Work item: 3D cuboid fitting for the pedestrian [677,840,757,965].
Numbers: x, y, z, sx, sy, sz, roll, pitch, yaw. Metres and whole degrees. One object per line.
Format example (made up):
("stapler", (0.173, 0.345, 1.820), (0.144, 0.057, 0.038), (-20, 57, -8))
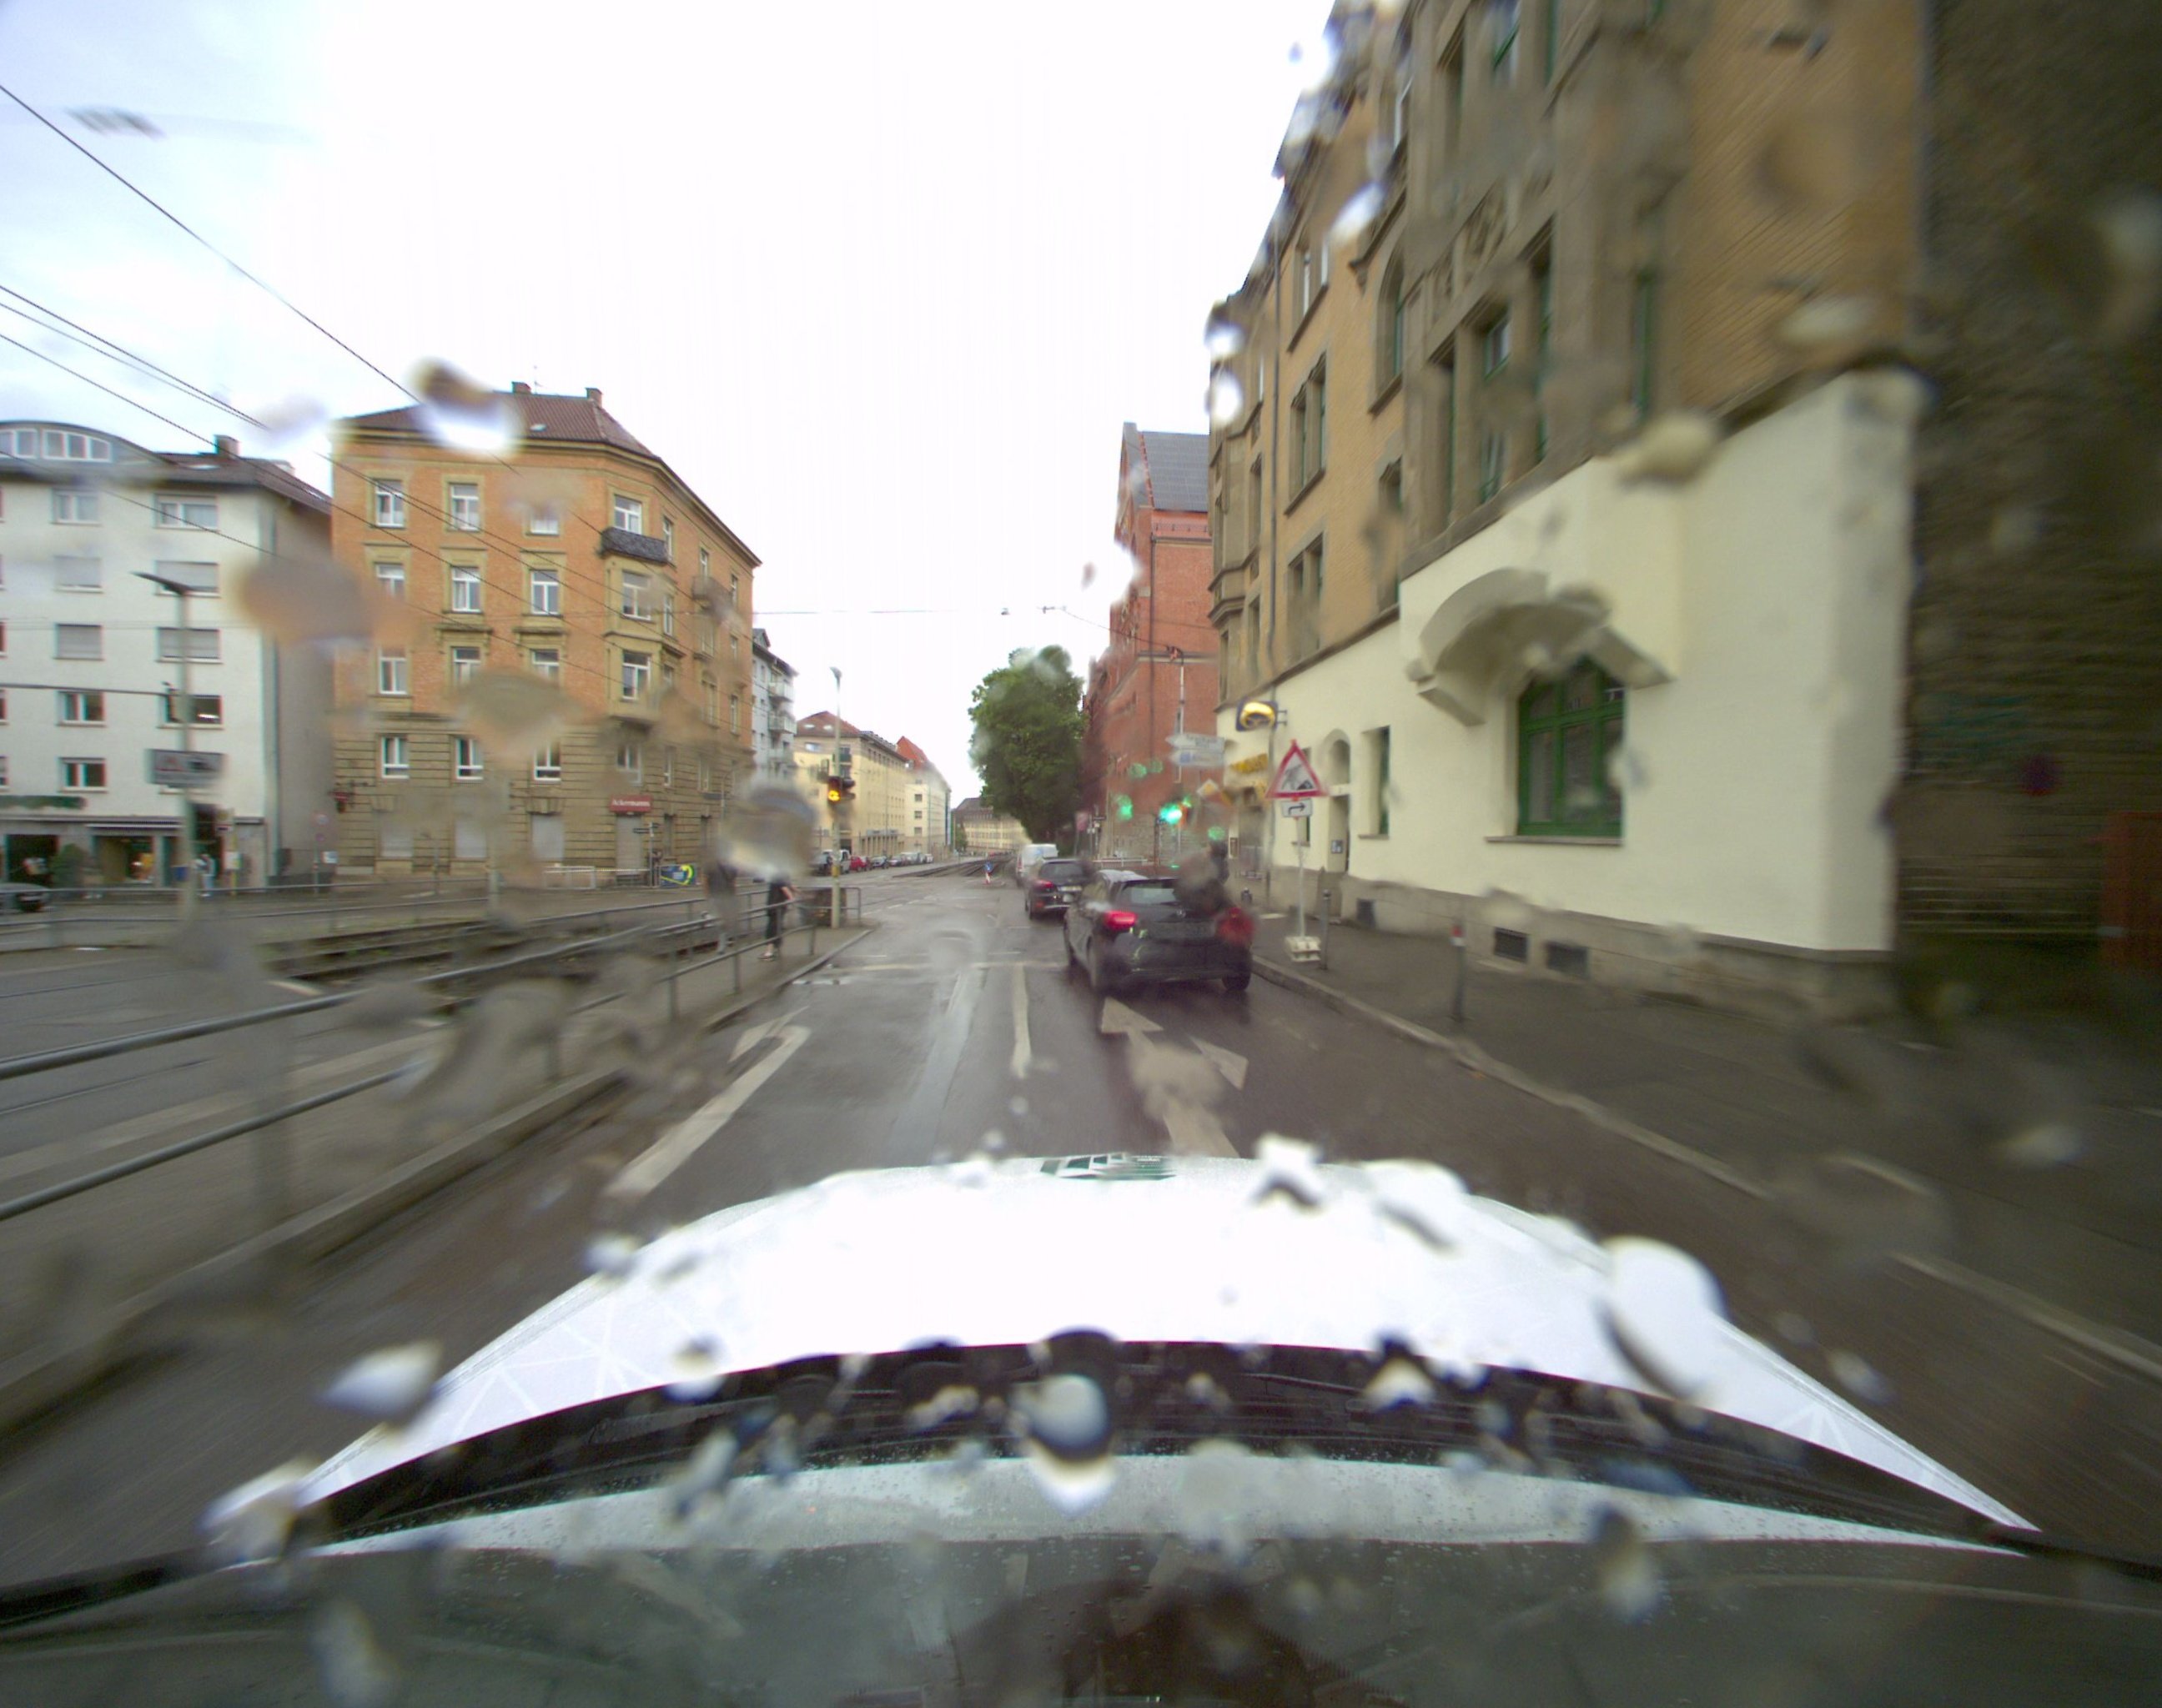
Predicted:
("pedestrian", (-5.479, 0.705, 12.321), (0.824, 1.798, 0.999), (-1, -1, -7))

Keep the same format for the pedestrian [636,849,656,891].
("pedestrian", (-19.112, 0.706, 35.779), (0.630, 1.840, 0.633), (-1, 0, -37))

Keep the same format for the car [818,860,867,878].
("car", (-20.773, 1.287, 71.137), (1.763, 1.434, 4.006), (0, 0, 29))

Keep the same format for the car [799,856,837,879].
("car", (-19.396, 0.981, 60.263), (1.730, 1.651, 4.356), (0, 0, -5))

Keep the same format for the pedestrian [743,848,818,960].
("pedestrian", (-4.500, 0.718, 12.265), (0.834, 1.604, 0.999), (-1, -1, -7))

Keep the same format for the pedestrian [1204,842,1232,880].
("pedestrian", (6.143, 0.296, 36.470), (0.956, 1.625, 1.071), (-2, 0, -5))

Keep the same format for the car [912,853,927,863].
("car", (-25.097, 0.645, 126.574), (1.810, 1.499, 4.574), (1, 0, -5))

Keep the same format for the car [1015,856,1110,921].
("car", (-0.587, 0.784, 20.508), (1.932, 1.453, 4.306), (0, 0, -8))

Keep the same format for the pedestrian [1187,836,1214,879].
("pedestrian", (5.387, 0.155, 36.841), (0.956, 1.887, 1.071), (-2, 0, -5))

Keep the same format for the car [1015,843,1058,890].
("car", (-2.073, 0.532, 37.010), (1.738, 2.014, 3.895), (0, 0, -6))

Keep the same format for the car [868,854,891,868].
("car", (-21.319, 0.744, 86.383), (1.677, 1.396, 4.612), (-1, 0, -6))

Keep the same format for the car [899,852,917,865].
("car", (-23.569, 0.664, 110.997), (1.864, 1.717, 4.453), (-1, 0, -4))

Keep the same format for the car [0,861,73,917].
("car", (-34.419, 1.105, 25.136), (3.981, 1.665, 1.838), (-2, 0, -6))

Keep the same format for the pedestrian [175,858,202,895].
("pedestrian", (-37.453, 0.936, 34.176), (0.529, 1.537, 0.498), (0, 0, -1))

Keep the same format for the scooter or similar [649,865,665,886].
("scooter or similar", (-19.231, 0.983, 36.925), (0.558, 0.945, 0.572), (-1, 0, -35))

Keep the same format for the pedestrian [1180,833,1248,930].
("pedestrian", (2.511, 0.509, 15.497), (1.015, 1.720, 0.929), (-4, 0, -4))

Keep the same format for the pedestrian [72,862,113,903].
("pedestrian", (-40.860, 1.162, 33.668), (0.828, 1.669, 0.667), (0, -1, -1))

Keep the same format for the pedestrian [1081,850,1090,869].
("pedestrian", (0.402, 0.455, 73.190), (0.821, 1.678, 0.859), (-1, -1, -2))

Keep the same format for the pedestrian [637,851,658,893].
("pedestrian", (-19.059, 0.787, 35.821), (0.631, 1.766, 0.633), (-4, 4, -40))

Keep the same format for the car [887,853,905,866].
("car", (-22.637, 0.659, 99.695), (1.851, 1.508, 4.974), (-1, 0, -10))

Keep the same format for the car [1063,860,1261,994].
("car", (0.813, 0.774, 10.444), (1.791, 1.375, 3.992), (1, 0, -6))

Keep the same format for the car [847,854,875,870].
("car", (-20.829, 0.744, 77.333), (1.649, 1.451, 4.070), (-1, 0, -2))

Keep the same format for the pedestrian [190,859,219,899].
("pedestrian", (-36.568, 1.035, 33.981), (0.597, 1.668, 0.597), (-1, -1, 5))

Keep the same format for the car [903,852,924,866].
("car", (-24.063, 0.726, 117.186), (1.988, 1.905, 5.457), (1, 0, -1))

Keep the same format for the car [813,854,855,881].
("car", (-20.087, 1.035, 66.439), (2.066, 2.009, 5.293), (2, 0, -5))

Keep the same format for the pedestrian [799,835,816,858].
("pedestrian", (-23.030, -0.612, 68.669), (1.172, 1.929, 1.173), (0, 0, -11))

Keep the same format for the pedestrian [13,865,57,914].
("pedestrian", (-44.096, 1.476, 34.346), (0.860, 2.014, 0.768), (-1, -1, 0))
